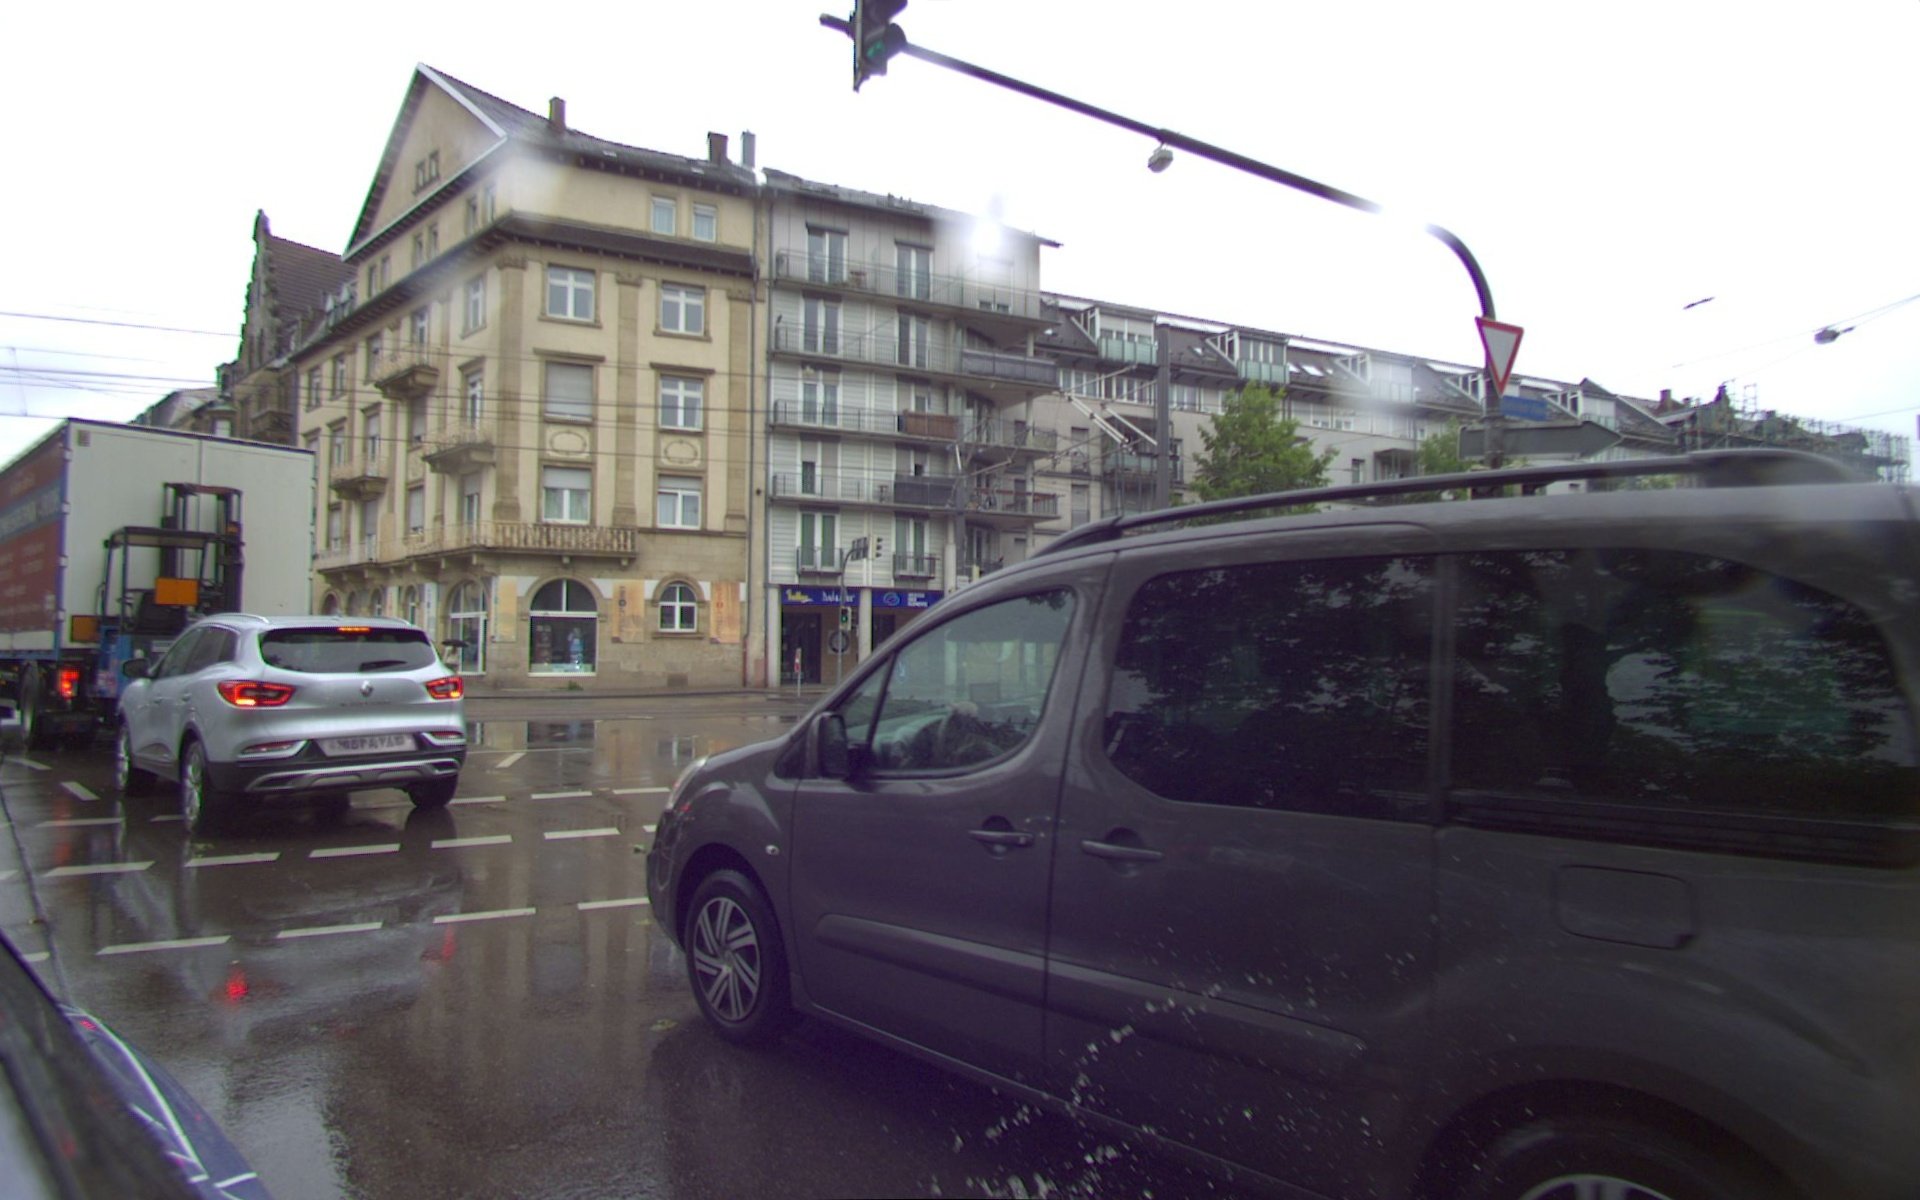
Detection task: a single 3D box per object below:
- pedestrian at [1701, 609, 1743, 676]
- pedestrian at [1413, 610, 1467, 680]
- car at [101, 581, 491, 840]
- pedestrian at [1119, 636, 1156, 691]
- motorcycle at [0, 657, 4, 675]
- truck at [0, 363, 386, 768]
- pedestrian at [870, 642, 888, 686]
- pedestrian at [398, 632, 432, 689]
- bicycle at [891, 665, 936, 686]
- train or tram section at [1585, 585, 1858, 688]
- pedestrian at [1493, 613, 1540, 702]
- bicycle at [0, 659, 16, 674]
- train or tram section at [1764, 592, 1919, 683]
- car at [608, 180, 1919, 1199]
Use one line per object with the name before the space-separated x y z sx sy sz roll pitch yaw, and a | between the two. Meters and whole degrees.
pedestrian | 21.309 1.202 28.313 0.667 1.853 0.642 2 -4 -25
pedestrian | 11.554 1.094 24.377 0.803 1.661 0.796 2 -4 -25
car | -5.610 0.794 8.356 3.999 1.616 1.723 -3 -4 42
pedestrian | 5.411 1.934 30.816 0.743 1.661 0.840 3 -4 -28
motorcycle | -70.683 4.816 73.155 0.758 1.320 2.226 -3 -3 41
truck | -11.868 -0.116 14.511 10.307 4.056 2.817 -3 -5 40
pedestrian | -3.344 2.622 41.641 0.601 1.794 0.501 1 -4 -24
pedestrian | -19.559 2.158 36.331 0.907 1.981 0.702 2 -1 -41
bicycle | -2.020 3.276 44.166 1.894 0.873 0.583 1 -4 -22
train or tram section | 29.110 1.466 38.538 11.376 3.531 3.082 2 -3 -24
pedestrian | 13.359 1.386 24.299 0.690 2.093 0.639 2 -4 -29
bicycle | -71.378 4.994 75.273 0.544 1.081 1.667 -3 -2 38
train or tram section | 39.493 1.663 43.209 11.376 3.531 3.082 2 -3 -24
car | 0.784 0.432 3.133 4.108 1.876 1.787 -3 -4 42
